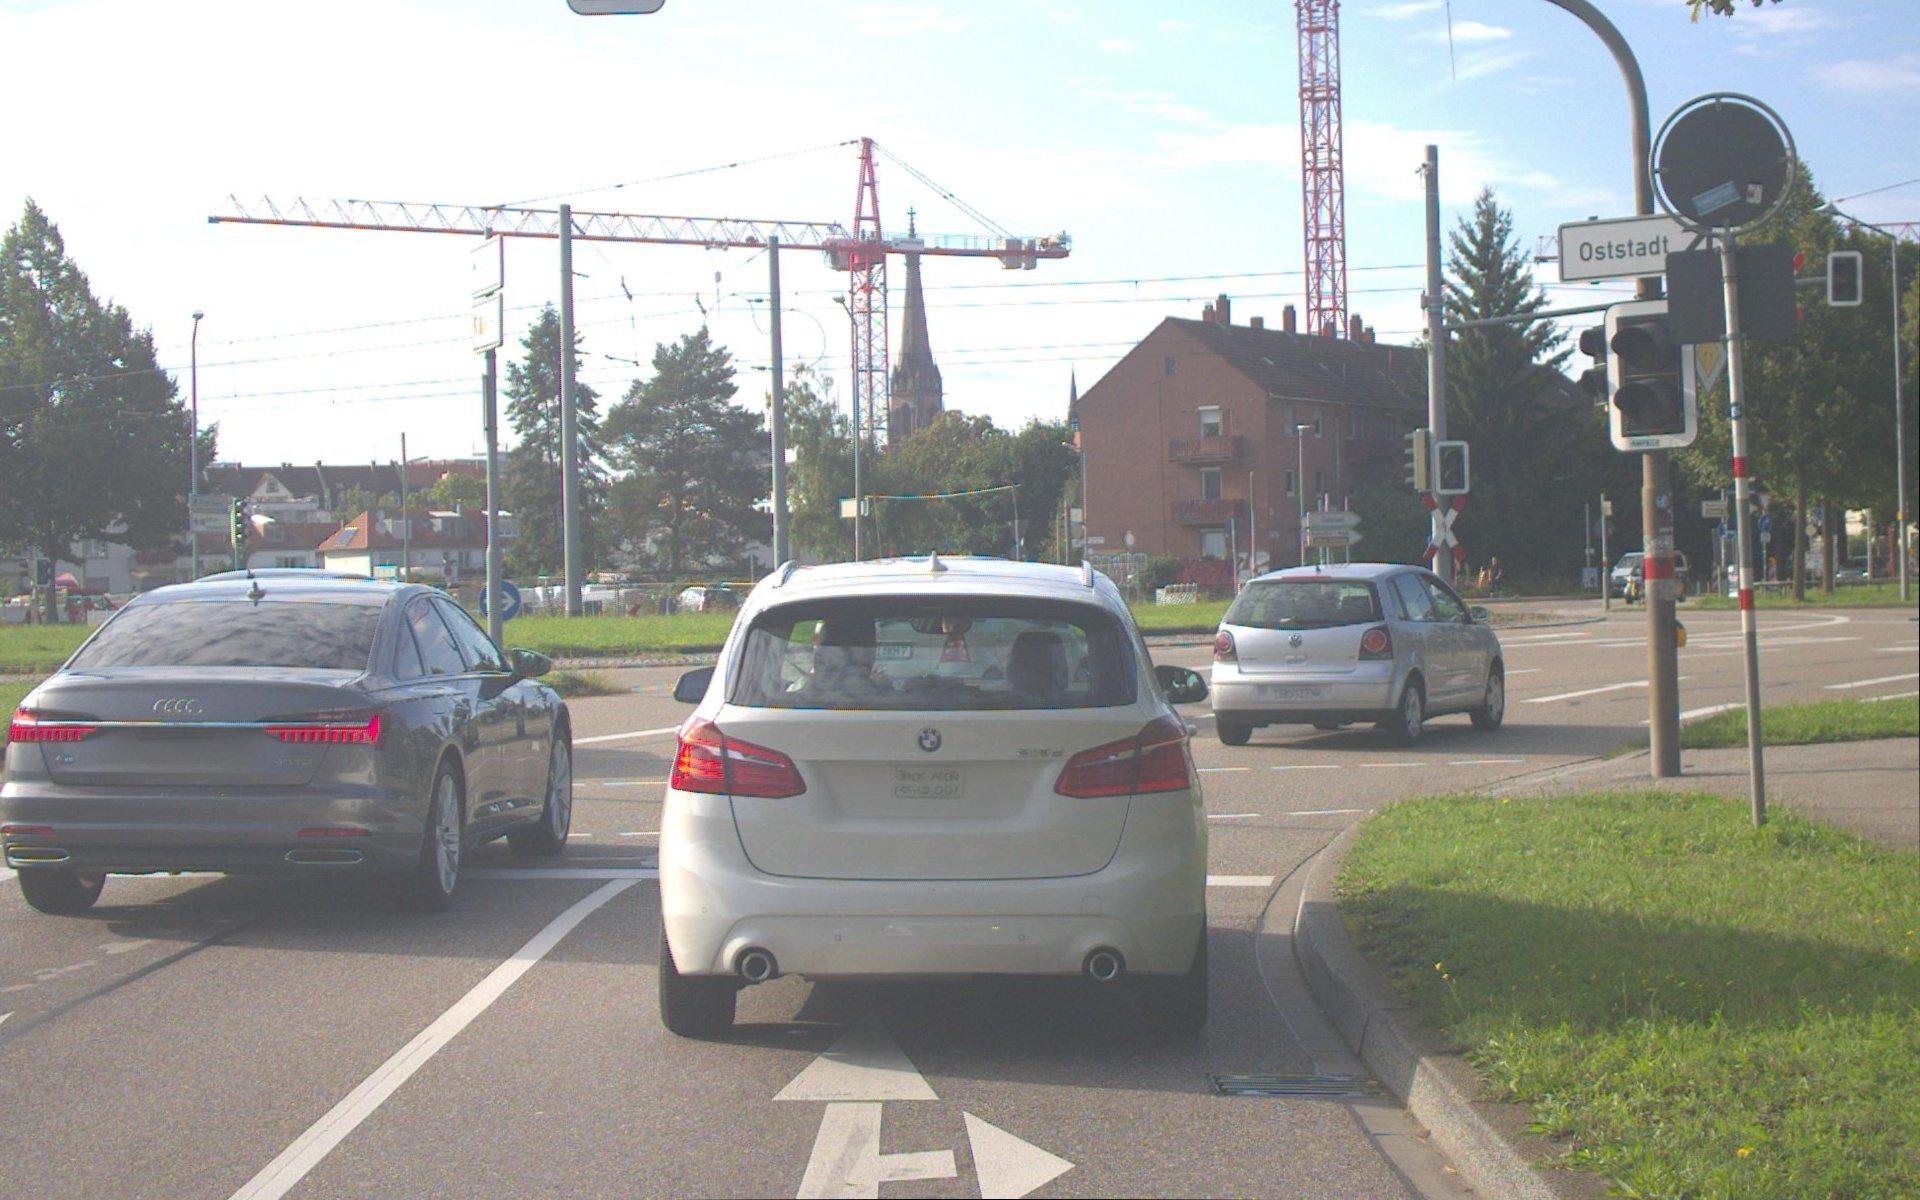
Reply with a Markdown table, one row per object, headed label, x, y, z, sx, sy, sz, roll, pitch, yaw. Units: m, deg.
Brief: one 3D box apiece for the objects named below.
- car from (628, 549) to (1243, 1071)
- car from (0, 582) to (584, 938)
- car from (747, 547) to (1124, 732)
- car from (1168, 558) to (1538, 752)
| label | x | y | z | sx | sy | sz | roll | pitch | yaw |
| --- | --- | --- | --- | --- | --- | --- | --- | --- | --- |
| car | -0.096 | 0.618 | 12.591 | 1.850 | 1.567 | 4.455 | 0 | 0 | -1 |
| car | -3.056 | 0.639 | 16.334 | 1.850 | 1.440 | 4.715 | 0 | 0 | 2 |
| car | -0.136 | 0.314 | 31.907 | 1.853 | 1.473 | 4.450 | 0 | 2 | 23 |
| car | 3.385 | 0.396 | 28.830 | 1.853 | 1.421 | 4.449 | 0 | 2 | 24 |
